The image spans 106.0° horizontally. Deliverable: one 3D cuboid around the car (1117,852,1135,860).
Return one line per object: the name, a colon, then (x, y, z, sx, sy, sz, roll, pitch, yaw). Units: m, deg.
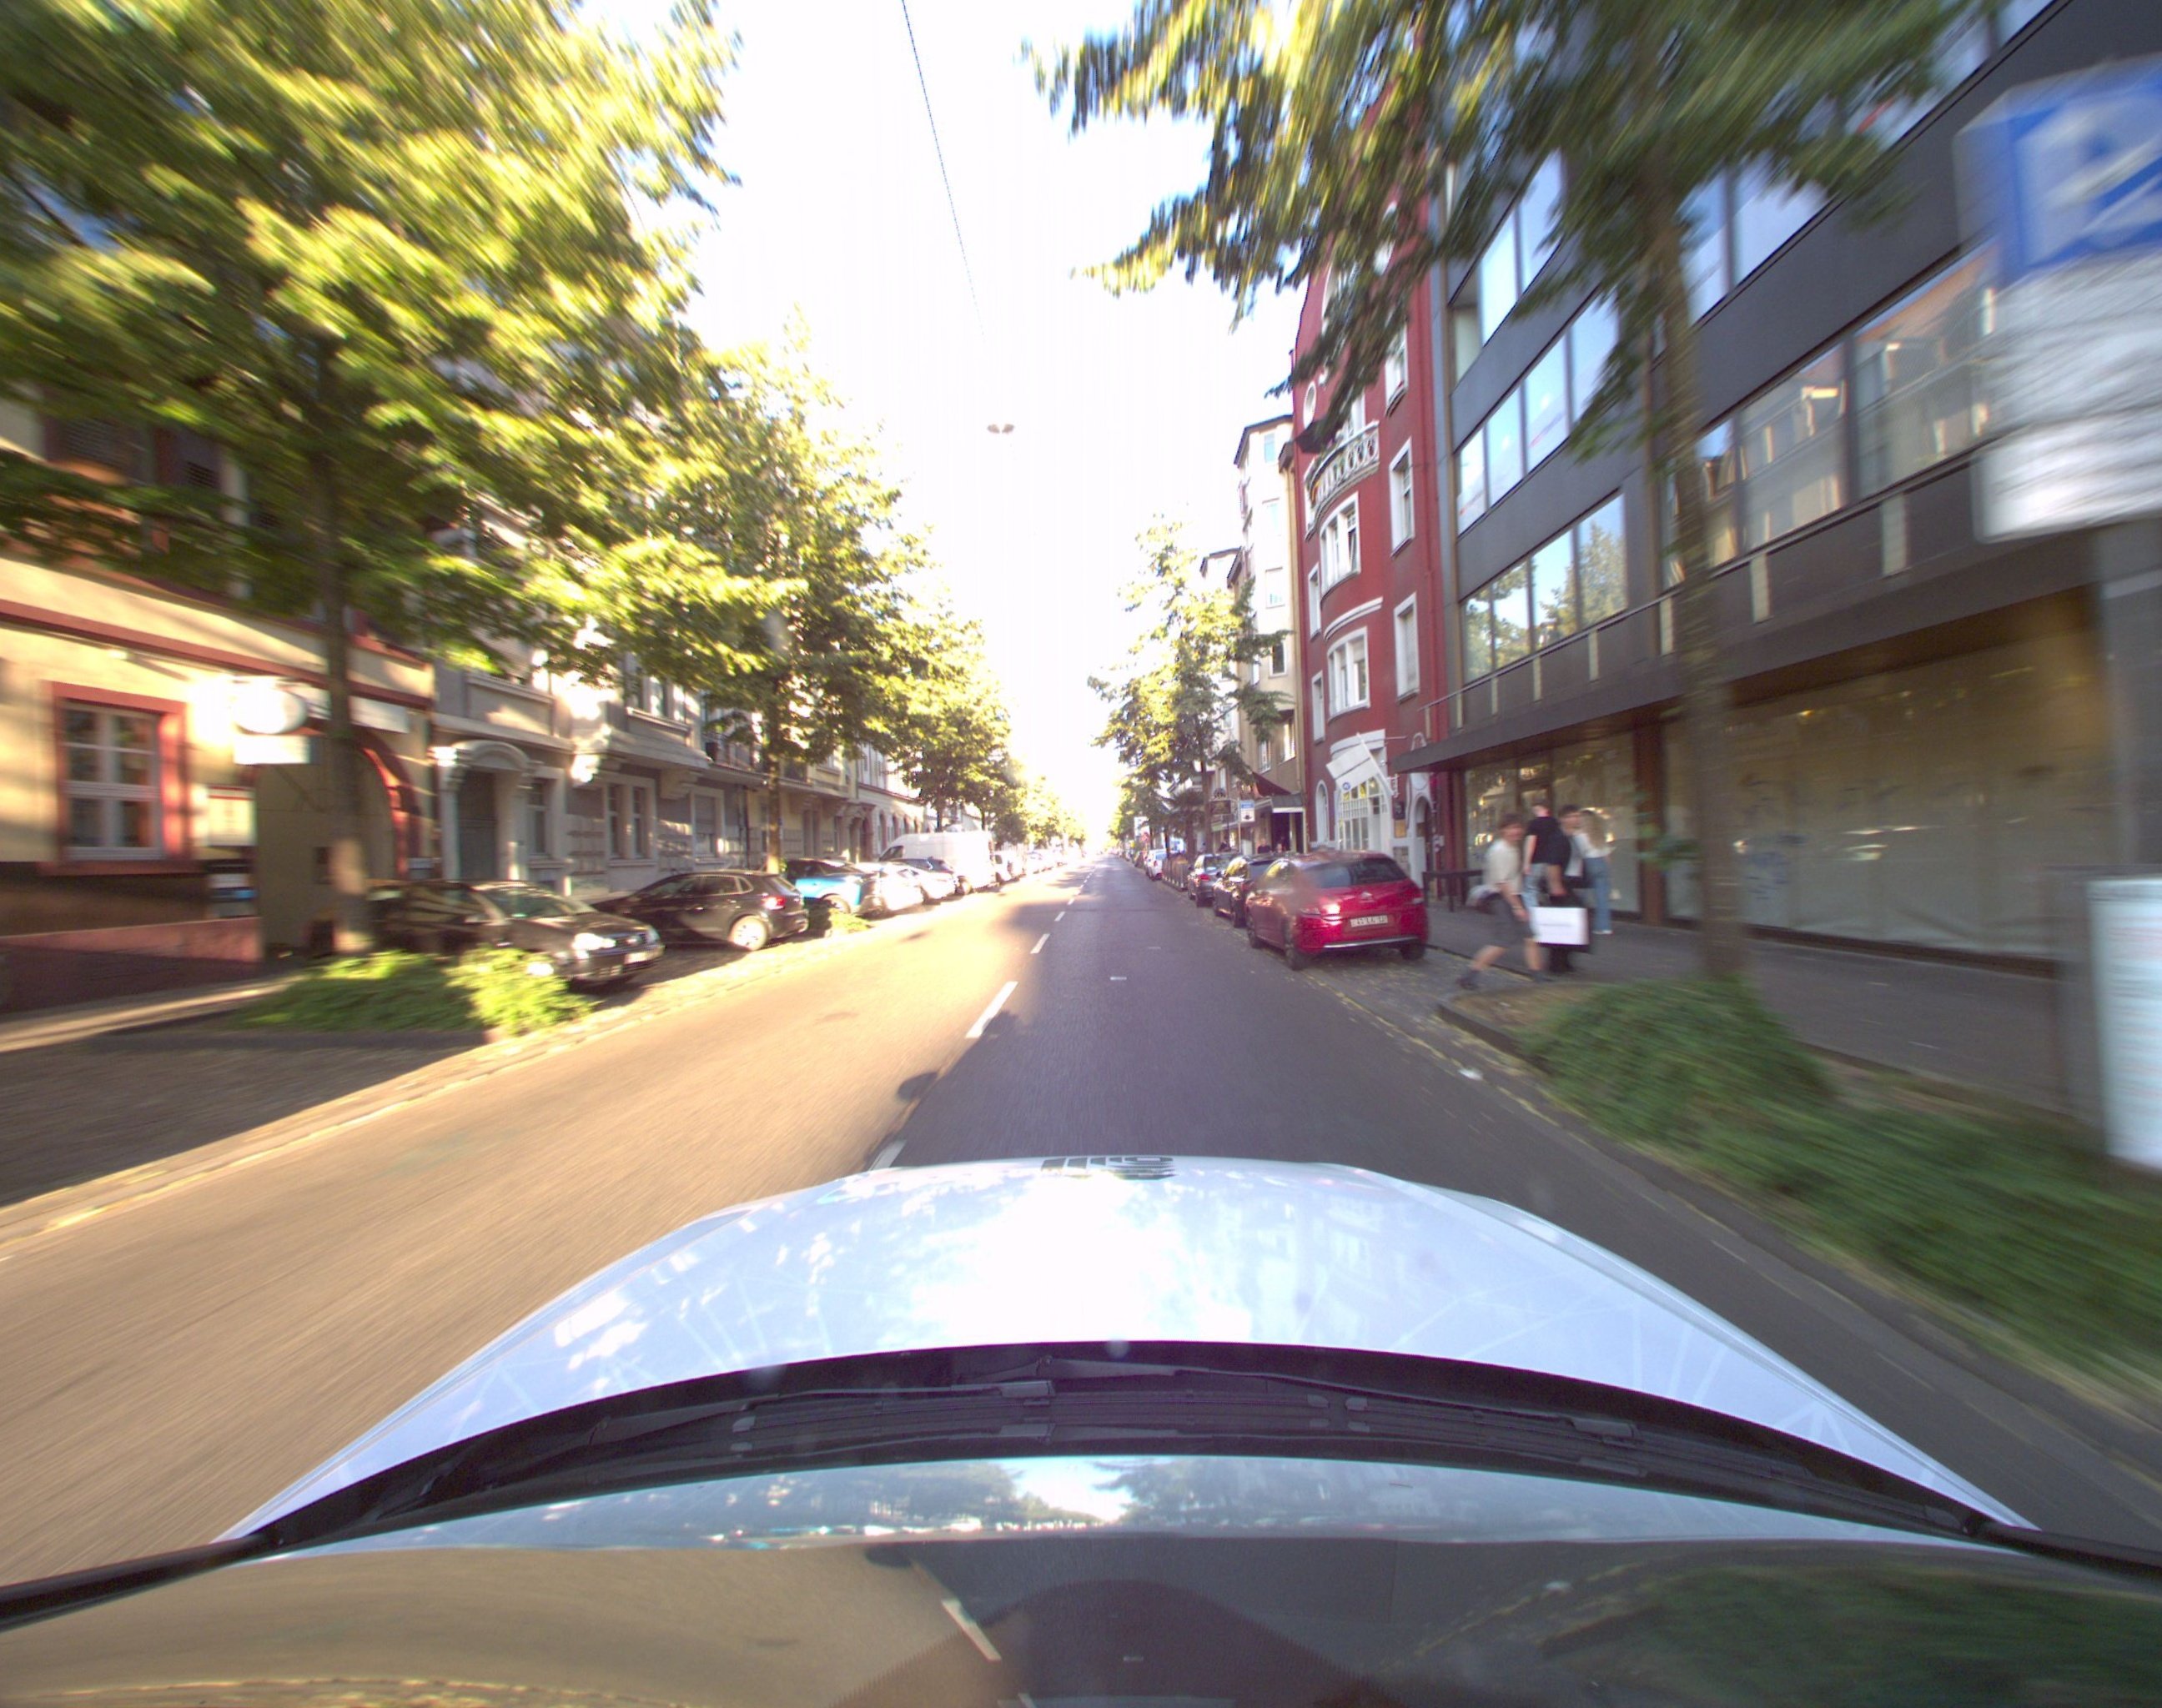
car: (9.602, 0.395, 173.838, 1.654, 1.588, 3.846, -2, 0, 44)

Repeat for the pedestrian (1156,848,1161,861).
pedestrian: (10.816, 0.089, 114.186, 0.460, 1.875, 0.499, -3, 0, -13)

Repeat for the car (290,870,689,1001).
car: (-7.279, 0.970, 10.288, 3.768, 1.448, 1.791, -1, 0, 3)

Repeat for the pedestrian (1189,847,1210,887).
pedestrian: (4.661, 0.504, 32.107, 0.629, 1.485, 0.795, -4, 0, 2)

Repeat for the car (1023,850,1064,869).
car: (-4.226, 0.652, 92.648, 4.466, 1.976, 2.069, -2, 0, 2)

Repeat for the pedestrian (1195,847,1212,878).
pedestrian: (5.573, 0.388, 37.038, 0.575, 1.384, 0.603, -4, 0, 2)

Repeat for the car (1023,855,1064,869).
car: (-4.085, 0.850, 88.494, 4.317, 1.501, 1.840, -1, 0, -4)

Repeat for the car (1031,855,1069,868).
car: (-3.822, 0.905, 101.077, 4.573, 1.470, 1.895, -1, 0, 4)

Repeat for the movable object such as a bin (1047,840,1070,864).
movable object such as a bin: (-3.012, -0.240, 109.217, 2.615, 2.969, 5.305, -2, 0, 2)

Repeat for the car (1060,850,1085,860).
car: (-1.622, 0.202, 155.542, 4.555, 1.962, 1.991, -1, -1, 1)

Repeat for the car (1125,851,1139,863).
car: (7.340, 0.484, 117.246, 1.680, 1.575, 4.015, -5, 0, 2)

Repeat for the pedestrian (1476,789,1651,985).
pedestrian: (4.885, 0.314, 8.303, 1.048, 1.785, 0.940, -5, 0, -14)

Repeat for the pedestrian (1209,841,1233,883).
pedestrian: (5.525, 0.316, 32.114, 0.705, 1.598, 0.795, -4, 0, 2)

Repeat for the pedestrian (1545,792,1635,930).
pedestrian: (7.039, 0.096, 11.302, 0.587, 1.809, 0.836, -5, 0, 1)

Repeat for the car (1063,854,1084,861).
car: (-1.718, 0.780, 179.824, 4.425, 1.568, 1.920, -1, 0, 2)

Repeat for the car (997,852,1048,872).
car: (-4.797, 0.661, 67.357, 4.023, 1.483, 1.963, -2, 0, 1)

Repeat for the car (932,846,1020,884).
car: (-5.770, 0.585, 45.074, 4.480, 1.953, 1.920, -2, 0, 3)

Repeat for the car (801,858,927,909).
car: (-6.827, 0.913, 25.884, 3.391, 1.510, 1.849, -1, 0, 5)

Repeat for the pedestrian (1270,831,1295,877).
pedestrian: (8.521, -0.023, 34.453, 0.791, 1.883, 0.883, -3, 1, 25)

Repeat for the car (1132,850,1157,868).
car: (5.881, 0.490, 75.844, 1.823, 1.488, 4.849, -4, 0, 0)

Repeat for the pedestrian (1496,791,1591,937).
pedestrian: (6.341, 0.131, 11.213, 0.623, 1.868, 0.976, -5, 0, 1)

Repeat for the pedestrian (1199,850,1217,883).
pedestrian: (5.520, 0.544, 35.441, 0.575, 1.384, 0.718, -4, 0, 2)

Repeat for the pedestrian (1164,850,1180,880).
pedestrian: (4.165, 0.496, 37.245, 0.575, 1.319, 0.704, -4, 0, 2)

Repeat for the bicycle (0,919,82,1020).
bicycle: (-11.534, 1.229, 8.239, 0.617, 0.989, 1.736, -1, 0, 6)

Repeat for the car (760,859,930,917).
car: (-6.545, 0.921, 22.972, 4.172, 1.482, 1.970, -1, 0, 0)

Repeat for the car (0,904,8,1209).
car: (-7.261, 0.977, 2.947, 4.366, 1.423, 1.823, -1, 0, 1)

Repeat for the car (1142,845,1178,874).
car: (4.913, 0.318, 51.121, 1.872, 1.574, 4.694, -5, 0, 2)

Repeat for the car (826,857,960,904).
car: (-6.492, 0.909, 28.401, 4.197, 1.506, 1.793, -1, 0, 1)

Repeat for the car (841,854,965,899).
car: (-6.717, 0.833, 30.995, 4.196, 1.600, 1.977, -1, 0, 2)

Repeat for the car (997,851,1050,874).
car: (-5.113, 0.744, 72.476, 4.411, 1.870, 1.895, -2, 0, 2)

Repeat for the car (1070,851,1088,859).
car: (-0.579, 0.211, 203.717, 4.425, 1.759, 1.920, -1, -1, 2)

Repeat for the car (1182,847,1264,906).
car: (4.120, 0.594, 24.332, 1.767, 1.440, 5.005, -5, 0, 4)

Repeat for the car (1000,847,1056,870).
car: (-4.874, 0.391, 75.116, 4.852, 1.908, 1.974, -2, 0, 1)

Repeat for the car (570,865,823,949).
car: (-7.084, 0.945, 15.291, 3.904, 1.448, 1.696, 0, 0, -1)

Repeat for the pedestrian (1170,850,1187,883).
pedestrian: (4.256, 0.548, 35.547, 0.575, 1.384, 0.603, -4, 0, 2)

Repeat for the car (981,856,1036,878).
car: (-5.506, 0.982, 62.339, 4.046, 1.461, 1.685, -2, 0, -1)

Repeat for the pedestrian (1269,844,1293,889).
pedestrian: (6.918, 0.436, 28.160, 0.622, 1.488, 0.641, -4, 0, 2)

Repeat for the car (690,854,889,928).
car: (-7.075, 0.868, 20.127, 4.220, 1.650, 1.891, -1, 0, -3)

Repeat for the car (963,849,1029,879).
car: (-5.732, 0.670, 55.353, 4.120, 1.806, 1.808, -2, 0, 3)

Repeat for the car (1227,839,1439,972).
car: (3.500, 0.633, 12.322, 1.716, 1.492, 4.753, -5, 0, 1)

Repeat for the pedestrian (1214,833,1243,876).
pedestrian: (6.643, 0.023, 36.685, 0.883, 1.883, 0.791, -4, 2, -45)

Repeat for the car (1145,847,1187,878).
car: (4.618, 0.456, 45.116, 1.835, 1.480, 5.192, -5, 0, 2)

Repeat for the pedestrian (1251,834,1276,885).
pedestrian: (6.235, 0.190, 27.808, 0.622, 1.677, 0.641, -4, 0, 2)

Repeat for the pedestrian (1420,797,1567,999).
pedestrian: (3.985, 0.409, 7.929, 0.731, 1.785, 0.866, -6, 0, -14)

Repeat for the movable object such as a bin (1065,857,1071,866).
movable object such as a bin: (-1.626, 1.002, 103.051, 0.687, 1.105, 0.884, -3, 0, 3)

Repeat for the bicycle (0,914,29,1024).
bicycle: (-11.384, 1.179, 7.297, 0.707, 1.099, 2.367, -1, 0, 6)

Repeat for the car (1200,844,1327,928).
car: (3.815, 0.610, 17.798, 1.768, 1.470, 4.419, -5, 0, 1)

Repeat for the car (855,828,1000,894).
car: (-6.406, 0.277, 34.459, 5.637, 2.621, 2.172, -1, 0, 1)

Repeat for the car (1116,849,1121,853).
car: (11.768, -0.834, 253.234, 1.507, 1.276, 3.306, -2, -1, 3)

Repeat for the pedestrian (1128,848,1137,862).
pedestrian: (7.119, 0.175, 111.896, 1.013, 1.825, 0.778, -4, 0, -8)

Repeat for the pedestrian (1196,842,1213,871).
pedestrian: (7.993, 0.151, 52.905, 0.853, 1.794, 0.996, -3, 0, -2)
